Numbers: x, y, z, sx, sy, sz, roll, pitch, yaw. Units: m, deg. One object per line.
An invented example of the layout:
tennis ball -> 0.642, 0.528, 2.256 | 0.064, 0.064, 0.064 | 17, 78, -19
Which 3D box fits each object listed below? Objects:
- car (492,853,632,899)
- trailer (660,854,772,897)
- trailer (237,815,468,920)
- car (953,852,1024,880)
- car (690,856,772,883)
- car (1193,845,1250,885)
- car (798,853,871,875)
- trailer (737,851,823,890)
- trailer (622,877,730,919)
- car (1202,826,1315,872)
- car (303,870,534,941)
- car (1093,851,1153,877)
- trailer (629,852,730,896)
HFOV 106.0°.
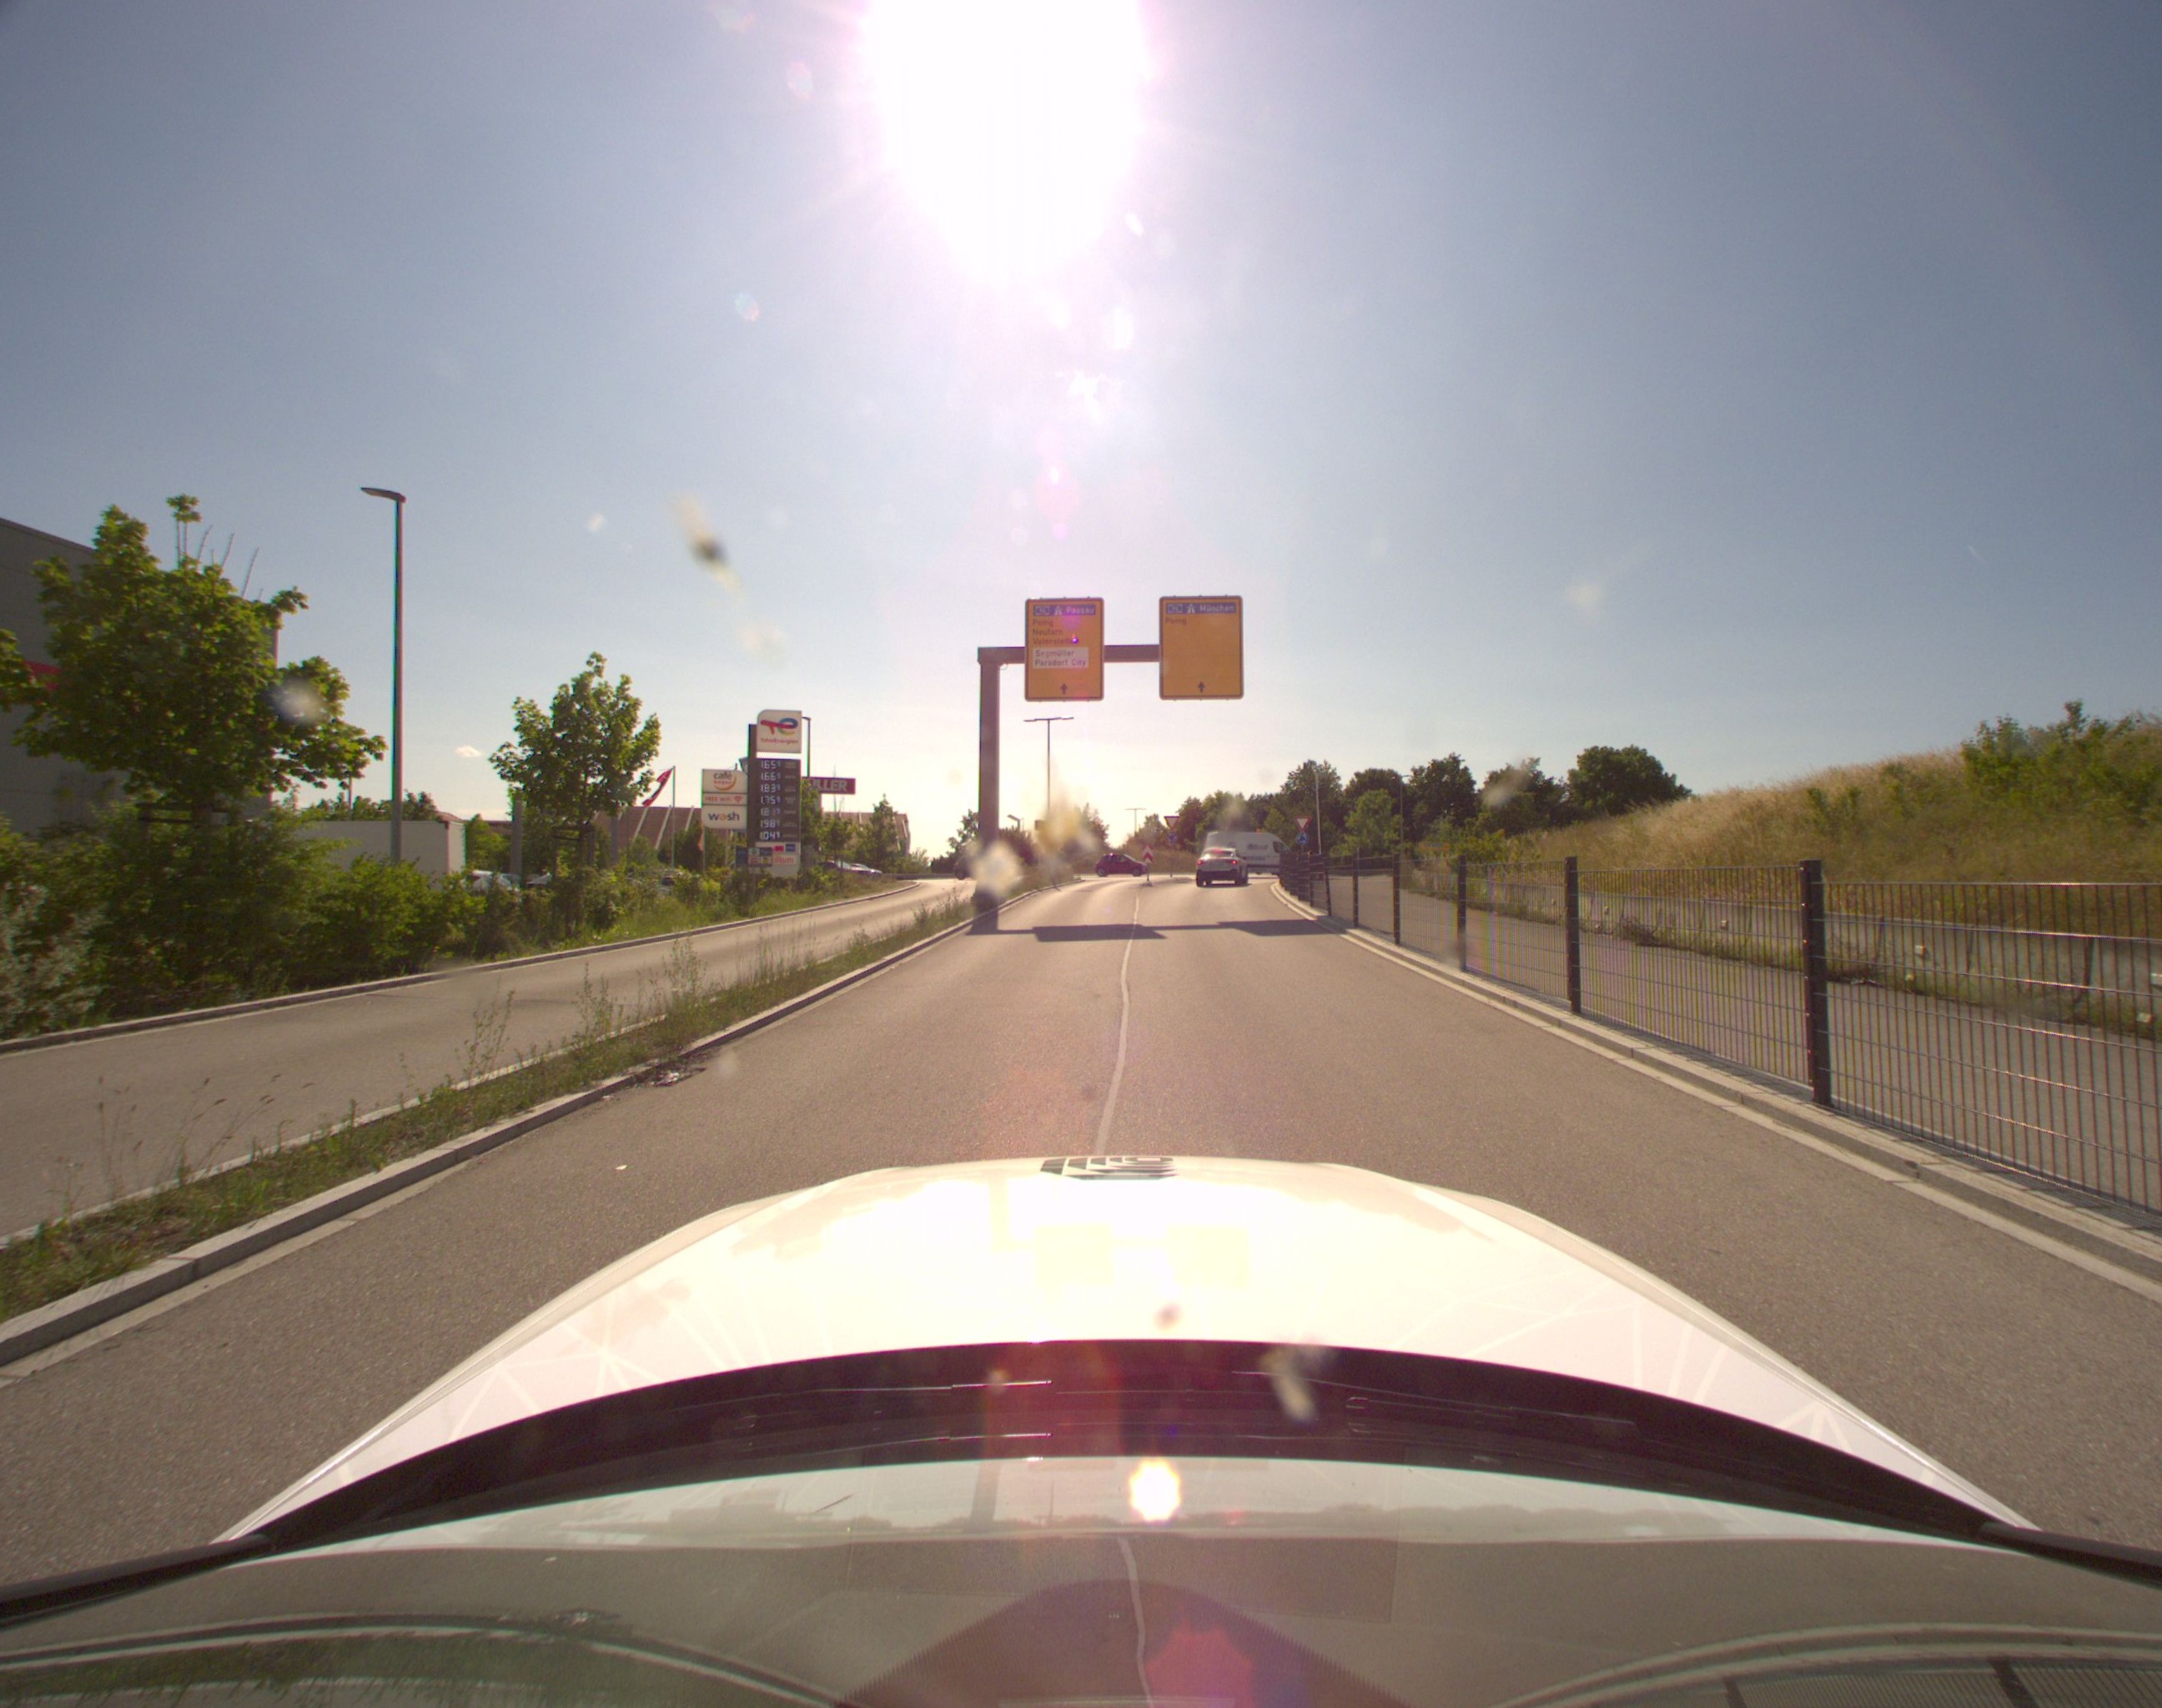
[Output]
car -> -18.082, 0.724, 28.653 | 1.789, 1.483, 4.502 | 0, 0, 4
trailer -> -14.105, 0.837, 31.487 | 3.708, 1.452, 1.691 | 4, -2, -31
trailer -> -15.103, 0.286, 17.134 | 3.248, 2.014, 1.732 | 1, -1, -28
car -> -5.617, 0.725, 49.676 | 3.925, 1.618, 1.823 | 0, -1, 9
car -> -30.434, 1.347, 70.975 | 6.266, 2.234, 2.028 | 1, -1, -16
car -> 6.029, 0.457, 34.603 | 1.827, 1.596, 4.344 | -1, -1, 17
car -> -16.710, 0.680, 55.134 | 4.811, 1.452, 2.012 | 0, -1, 31
trailer -> -15.024, 0.797, 40.685 | 3.709, 1.772, 1.790 | -1, 0, -31
trailer -> -13.289, 1.427, 26.842 | 2.905, 1.322, 1.384 | 0, -1, -13
car -> 10.347, -0.275, 47.688 | 6.168, 2.554, 2.085 | 0, -1, -8
car -> -15.794, 1.176, 19.708 | 4.008, 1.536, 1.704 | 1, -1, -26
car -> 2.784, 0.661, 53.750 | 3.697, 1.618, 1.879 | 0, -1, 13
trailer -> -17.154, 0.825, 34.822 | 3.709, 1.772, 1.790 | 1, -1, -31
